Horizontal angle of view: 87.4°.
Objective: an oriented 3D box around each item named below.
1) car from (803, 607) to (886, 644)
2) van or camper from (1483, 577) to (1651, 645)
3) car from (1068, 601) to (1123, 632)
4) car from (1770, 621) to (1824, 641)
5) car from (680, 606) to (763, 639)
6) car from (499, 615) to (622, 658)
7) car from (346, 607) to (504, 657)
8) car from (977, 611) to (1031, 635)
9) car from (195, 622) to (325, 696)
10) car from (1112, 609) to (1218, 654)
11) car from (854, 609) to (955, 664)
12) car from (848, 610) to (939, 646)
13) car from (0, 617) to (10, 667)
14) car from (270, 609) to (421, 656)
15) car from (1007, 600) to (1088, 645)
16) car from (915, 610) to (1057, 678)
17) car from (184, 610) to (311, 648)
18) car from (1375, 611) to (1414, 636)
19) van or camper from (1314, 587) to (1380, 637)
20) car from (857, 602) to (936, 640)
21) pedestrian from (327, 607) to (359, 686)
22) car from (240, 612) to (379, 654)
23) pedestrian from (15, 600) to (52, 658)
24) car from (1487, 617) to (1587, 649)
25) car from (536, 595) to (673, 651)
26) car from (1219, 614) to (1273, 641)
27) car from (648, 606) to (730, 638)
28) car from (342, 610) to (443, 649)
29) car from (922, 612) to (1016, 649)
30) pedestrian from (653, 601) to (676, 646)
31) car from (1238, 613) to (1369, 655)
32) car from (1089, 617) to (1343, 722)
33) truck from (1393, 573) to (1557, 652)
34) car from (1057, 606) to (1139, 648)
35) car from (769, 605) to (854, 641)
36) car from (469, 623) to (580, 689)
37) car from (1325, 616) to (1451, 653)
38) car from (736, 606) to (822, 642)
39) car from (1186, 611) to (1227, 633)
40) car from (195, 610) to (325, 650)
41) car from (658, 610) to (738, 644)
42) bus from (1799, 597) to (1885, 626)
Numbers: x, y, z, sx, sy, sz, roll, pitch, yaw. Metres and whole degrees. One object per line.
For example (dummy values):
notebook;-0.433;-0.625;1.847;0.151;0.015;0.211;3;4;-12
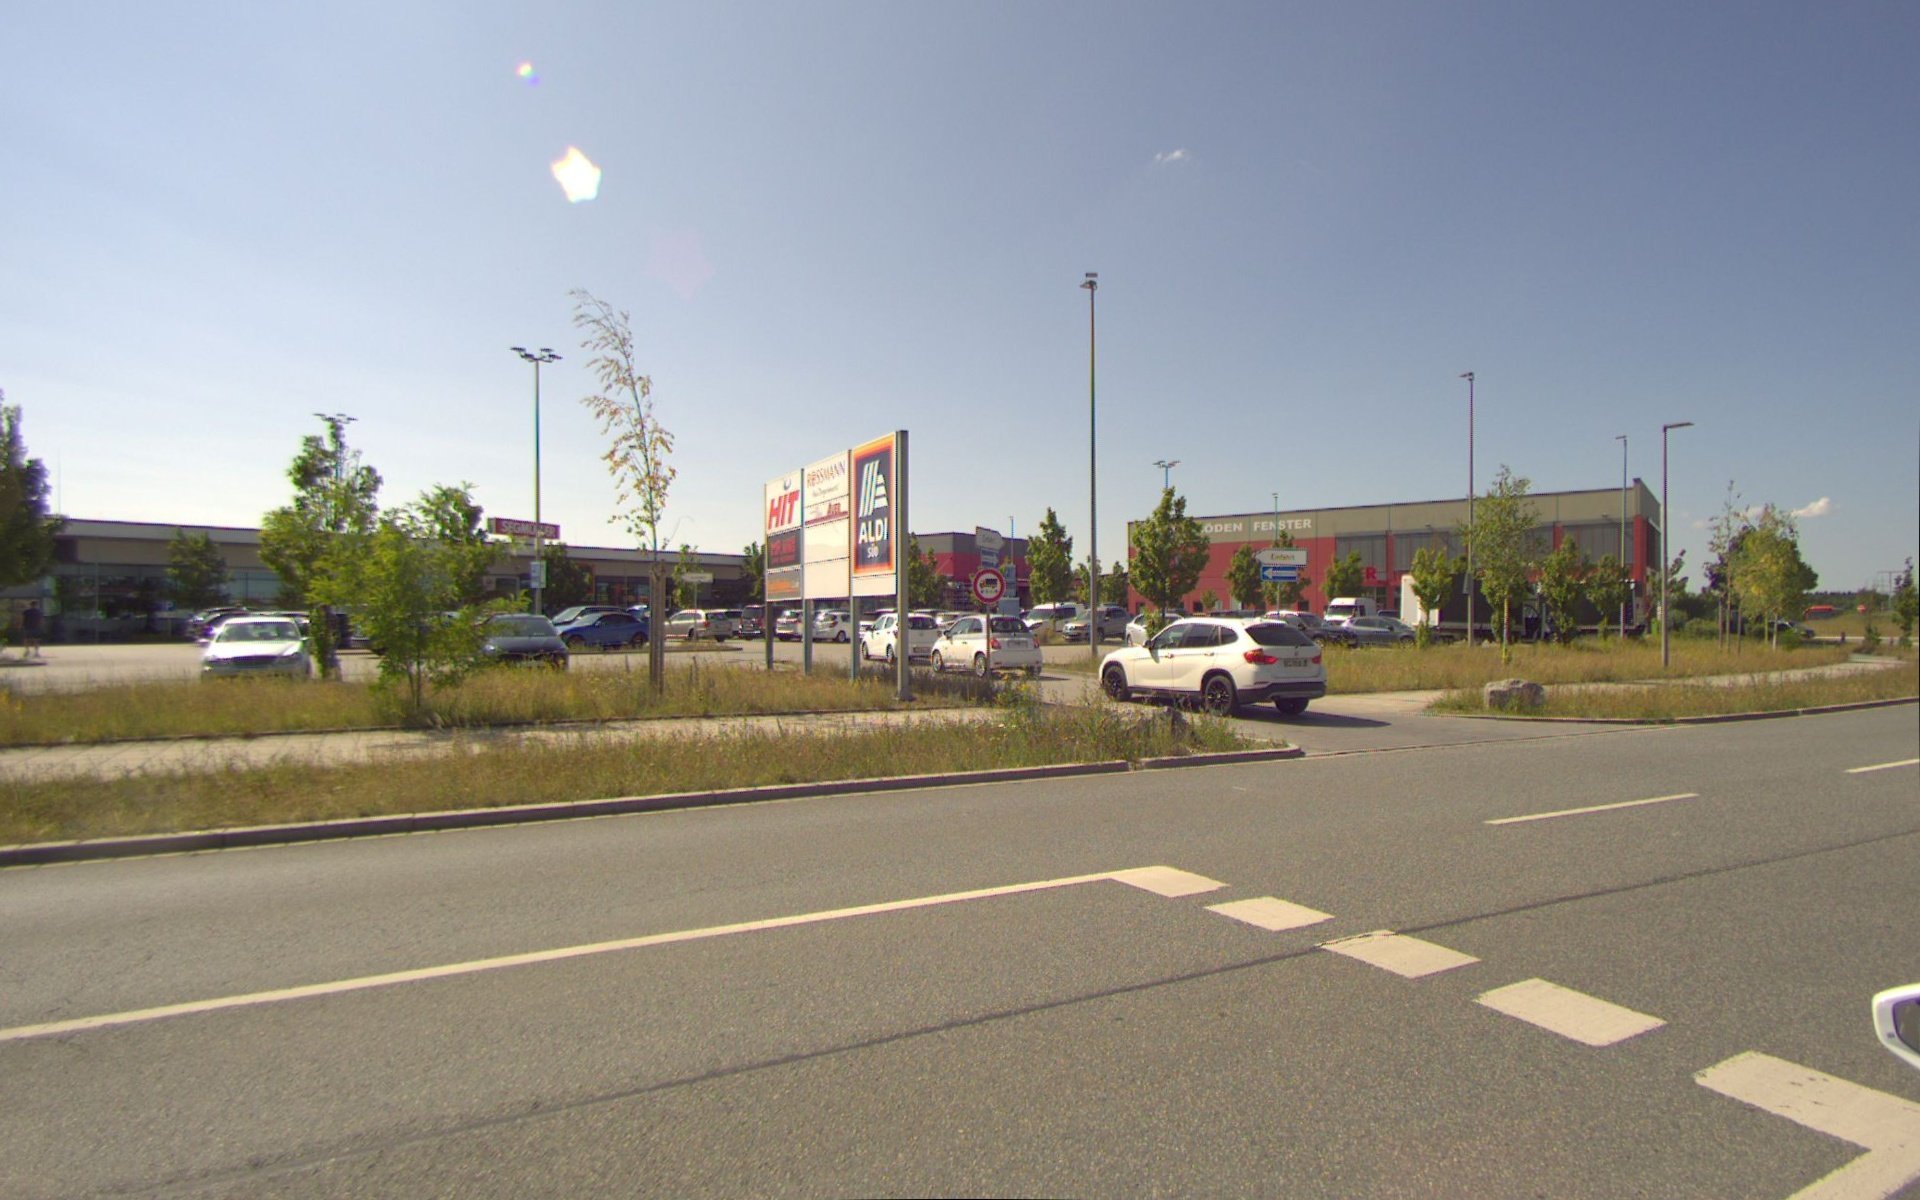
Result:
car;-5.651;1.242;49.607;1.883;1.740;4.375;0;-1;29
van or camper;33.559;0.639;55.760;7.612;3.514;2.540;-1;-1;44
car;9.199;1.101;68.043;1.808;2.021;4.366;0;-1;37
car;80.536;2.995;96.672;1.918;1.818;4.430;-1;-2;8
car;-13.299;1.250;56.144;1.886;1.748;4.368;0;-1;35
car;-15.805;1.423;39.918;1.690;1.602;4.337;-1;-1;38
car;-17.661;1.034;33.330;1.690;1.536;4.337;-1;-1;38
car;3.245;1.676;73.134;1.808;1.634;4.366;0;-1;37
car;-14.592;1.161;21.146;1.914;1.366;4.123;0;-1;-31
car;7.345;1.122;36.534;1.809;1.532;4.604;1;-1;-17
car;-1.775;1.085;30.817;1.890;1.568;3.978;1;-1;-23
car;-3.147;1.345;48.140;1.888;1.639;4.362;0;-1;39
car;-29.090;1.170;27.467;1.690;1.436;4.337;-1;-1;38
car;-22.077;1.130;36.223;1.690;1.581;4.337;-1;-1;38
car;4.290;1.075;48.770;1.810;2.092;4.362;0;-1;39
car;0.570;1.061;25.345;1.893;1.568;3.972;1;-1;-28
car;-31.859;1.261;45.004;1.757;1.616;4.337;-1;-1;38
car;29.924;1.605;69.153;1.639;1.693;4.069;0;-1;36
van or camper;27.401;0.882;70.922;2.399;3.314;7.206;0;-1;38
car;-3.504;1.170;56.329;1.810;2.051;4.613;0;-1;39
pedestrian;-13.743;1.030;22.389;0.572;1.717;0.761;1;-1;-30
car;-25.814;1.282;39.996;1.690;1.565;4.337;-1;-1;38
pedestrian;-29.653;0.920;32.152;0.561;1.848;0.778;0;-1;40
car;30.315;1.710;52.852;4.320;1.573;1.827;-1;-1;43
car;-13.526;0.867;38.469;1.690;2.012;4.815;-1;-1;38
car;17.536;1.692;61.474;1.808;1.583;4.366;0;-1;37
car;-15.515;1.250;57.622;1.886;1.740;4.368;0;-1;35
car;-29.832;1.529;52.883;1.690;1.984;4.337;-1;-1;38
car;0.460;1.334;44.056;1.810;1.532;4.362;0;-1;39
pedestrian;-11.940;0.951;40.627;0.788;1.783;0.544;0;-1;40
car;13.021;1.255;38.339;1.820;1.478;4.544;1;-1;-36
car;4.240;1.079;17.289;1.895;1.568;4.193;1;-1;-30
truck;24.036;0.641;46.839;7.376;3.510;2.315;1;-1;-18
car;6.500;1.248;47.106;1.810;1.848;4.362;0;-1;39
car;-7.533;1.190;51.354;1.885;1.749;4.370;0;-1;33
car;-10.300;1.239;23.583;1.914;1.366;4.123;0;-1;-31
car;17.415;1.376;41.066;1.956;1.402;4.393;1;-1;-36
car;-9.449;1.248;52.767;1.886;1.817;4.368;0;-1;35
car;18.962;1.705;77.132;1.639;1.636;4.069;0;-1;36
car;-30.196;1.261;43.430;1.690;1.623;4.337;-1;-1;38
car;-12.561;1.281;48.066;3.941;1.568;1.831;0;-1;41
bus;110.047;1.418;125.324;12.020;3.120;2.783;-2;0;-21
